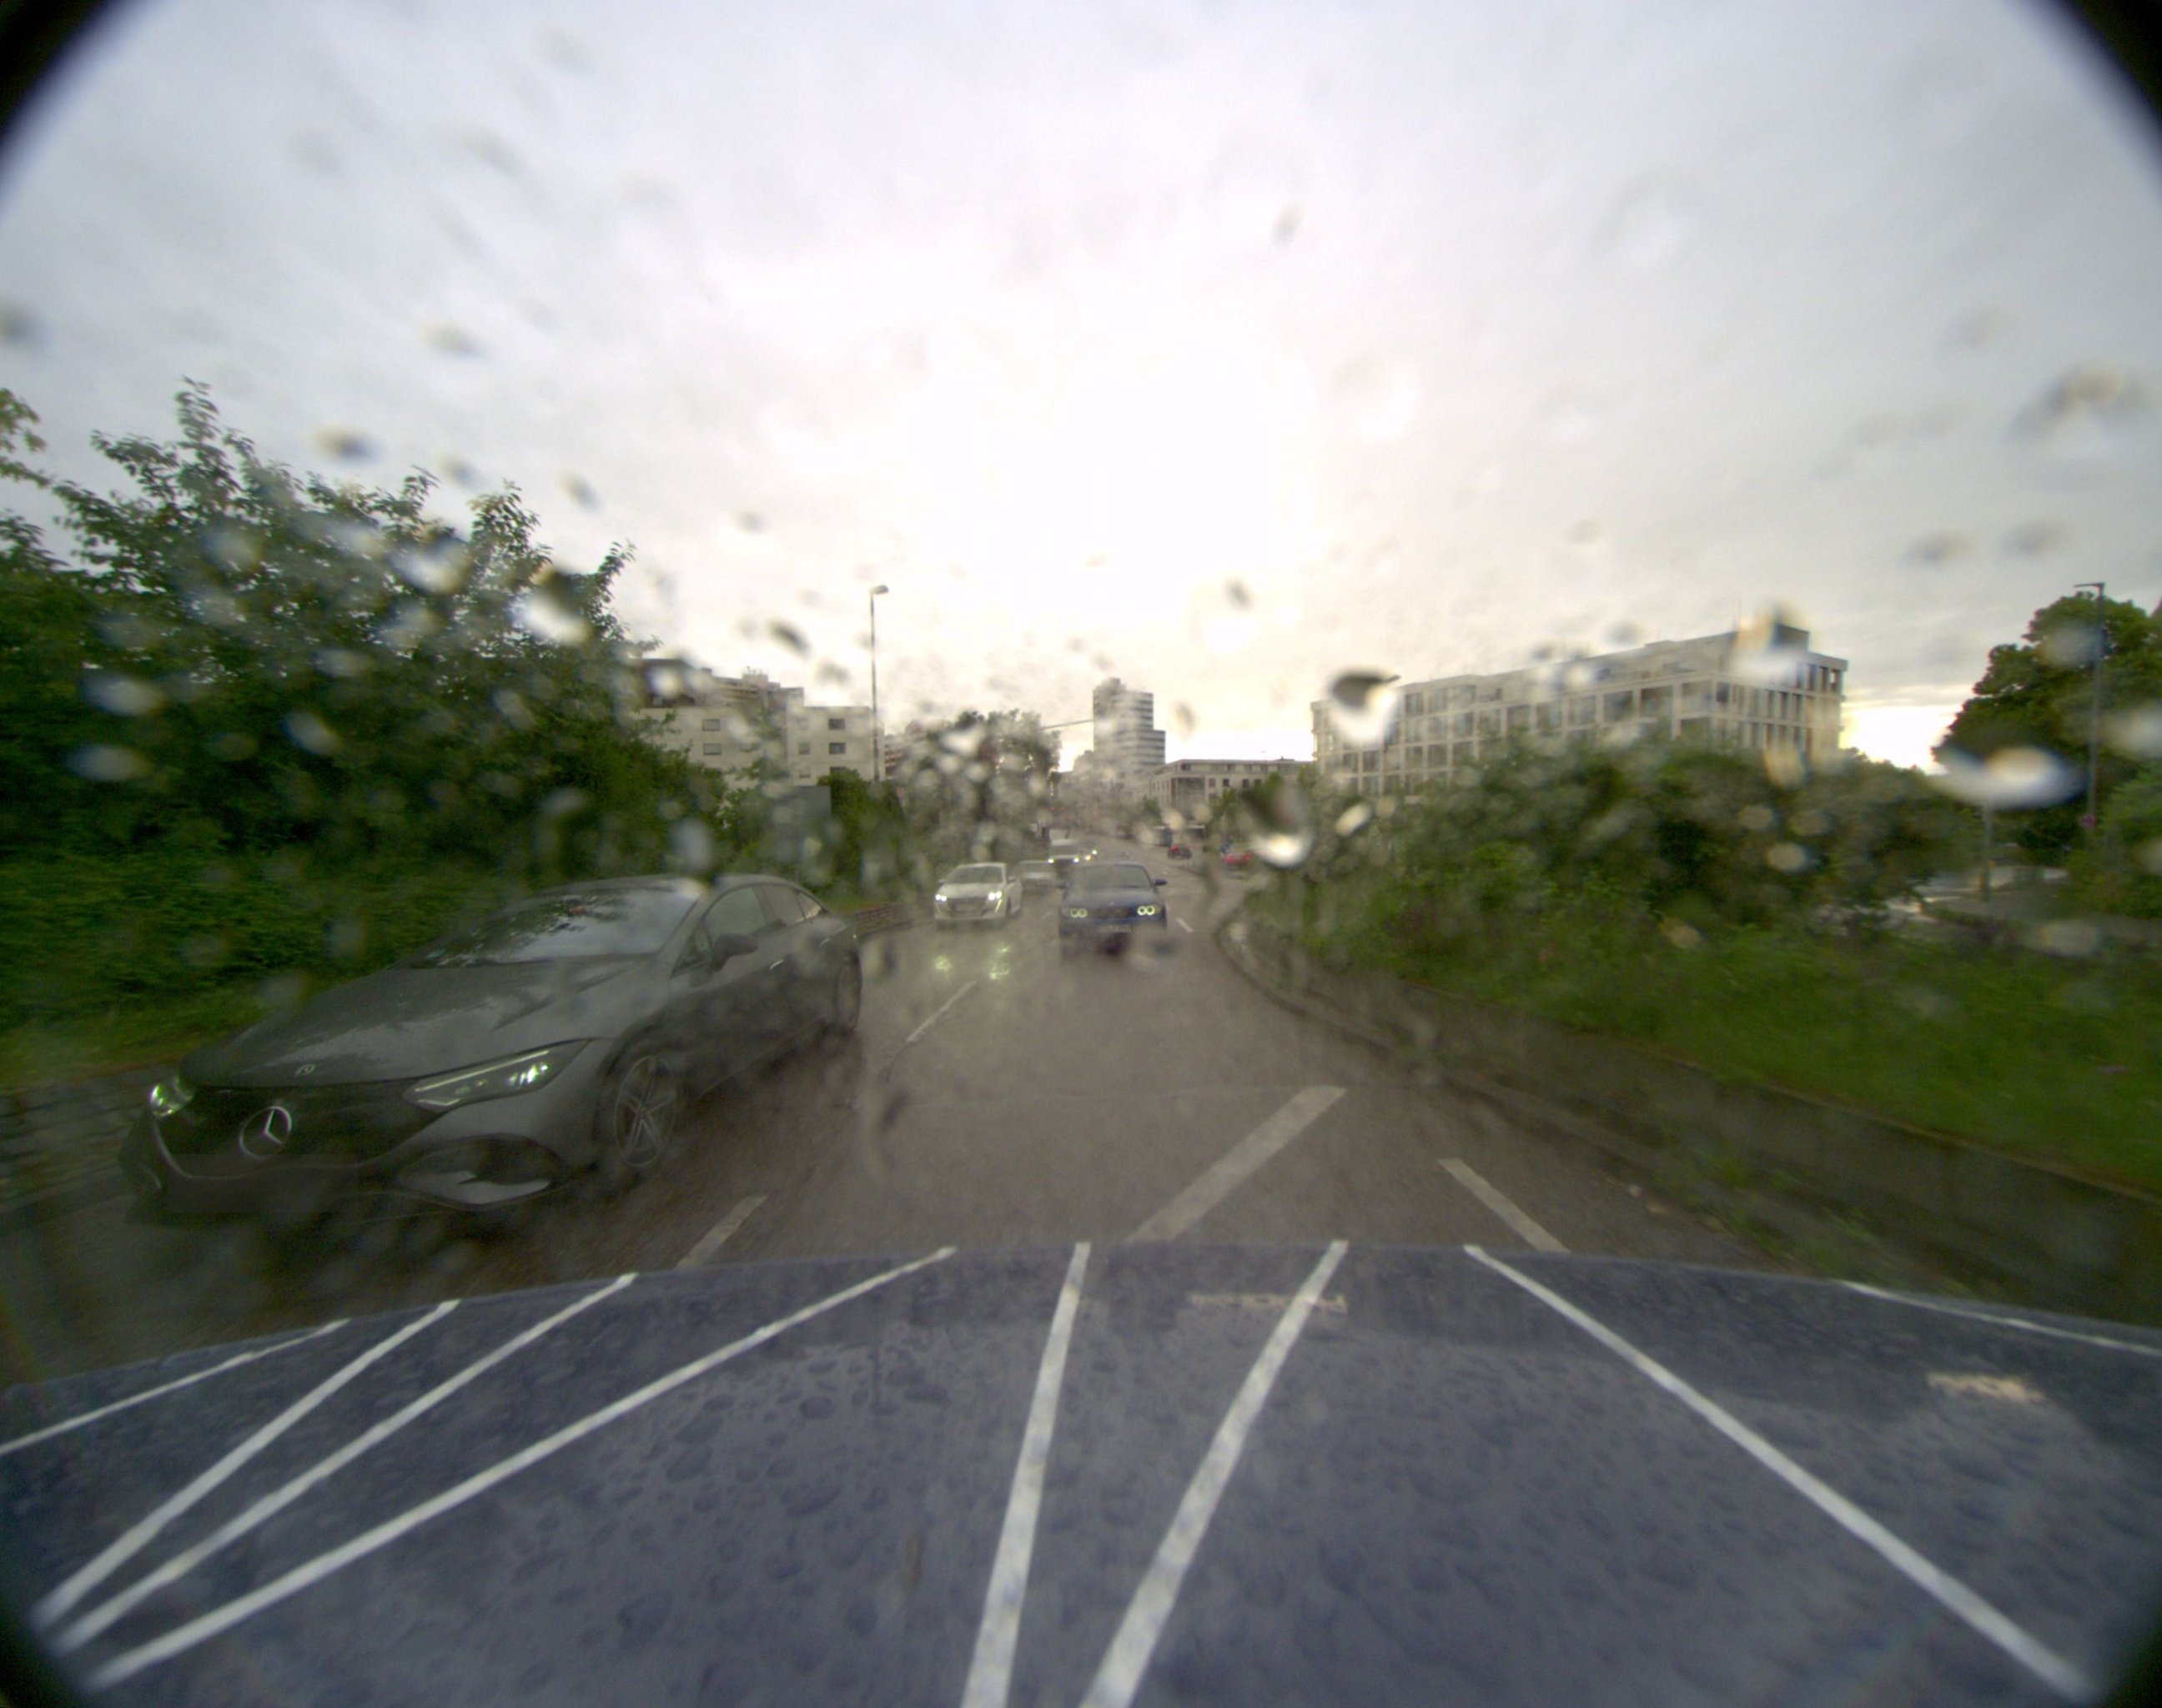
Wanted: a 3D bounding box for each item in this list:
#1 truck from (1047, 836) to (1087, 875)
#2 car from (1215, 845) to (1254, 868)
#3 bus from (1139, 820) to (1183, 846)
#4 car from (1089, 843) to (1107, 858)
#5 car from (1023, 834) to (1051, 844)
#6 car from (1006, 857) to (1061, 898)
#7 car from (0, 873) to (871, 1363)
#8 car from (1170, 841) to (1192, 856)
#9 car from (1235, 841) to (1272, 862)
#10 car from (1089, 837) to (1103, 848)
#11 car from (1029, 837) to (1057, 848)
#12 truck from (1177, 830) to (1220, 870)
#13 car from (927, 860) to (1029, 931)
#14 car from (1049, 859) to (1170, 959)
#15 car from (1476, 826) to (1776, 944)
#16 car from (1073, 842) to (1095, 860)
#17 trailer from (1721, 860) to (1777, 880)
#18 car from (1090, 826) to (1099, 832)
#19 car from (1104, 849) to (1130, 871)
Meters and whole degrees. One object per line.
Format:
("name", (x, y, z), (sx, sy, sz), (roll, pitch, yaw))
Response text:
("truck", (-0.853, 0.023, 51.400), (2.168, 2.426, 6.200), (-2, 1, 4))
("car", (10.622, 0.146, 52.805), (1.998, 1.406, 4.430), (-1, 2, 3))
("bus", (13.214, -3.524, 127.887), (2.953, 3.973, 18.210), (0, 2, -8))
("car", (1.924, -0.385, 86.783), (1.998, 1.543, 4.000), (-2, 0, 1))
("car", (-6.628, -2.244, 114.388), (3.999, 1.412, 1.701), (-3, 2, -6))
("car", (-1.878, 0.913, 31.131), (1.717, 1.369, 3.735), (-3, 1, 4))
("car", (-3.019, 0.988, 4.898), (1.836, 1.436, 4.550), (-3, 1, 2))
("car", (10.399, -0.594, 79.406), (1.907, 1.543, 4.074), (0, 1, 3))
("car", (13.276, -0.246, 58.755), (1.955, 1.470, 4.295), (1, 2, 1))
("car", (2.123, -1.651, 109.688), (1.998, 1.543, 4.000), (-2, 0, 1))
("car", (-5.629, -1.656, 112.022), (3.999, 1.412, 1.998), (-3, 2, -6))
("truck", (7.559, -0.316, 49.633), (2.168, 2.426, 6.200), (-2, 1, 4))
("car", (-2.437, 0.945, 18.980), (1.717, 1.389, 4.036), (-3, 1, 4))
("car", (0.537, 0.850, 13.302), (1.786, 1.335, 3.705), (-2, 1, 4))
("car", (8.892, 0.403, 13.050), (1.998, 1.652, 4.598), (-1, 1, 3))
("car", (0.321, -0.295, 70.940), (1.998, 1.543, 4.000), (-2, 0, 1))
("trailer", (36.265, 0.846, 41.276), (2.290, 0.973, 1.604), (0, 2, -30))
("car", (3.296, -6.114, 187.167), (1.818, 1.421, 3.942), (-3, 3, 5))
("car", (2.546, 0.410, 53.492), (1.717, 1.369, 3.735), (-3, 1, 4))
